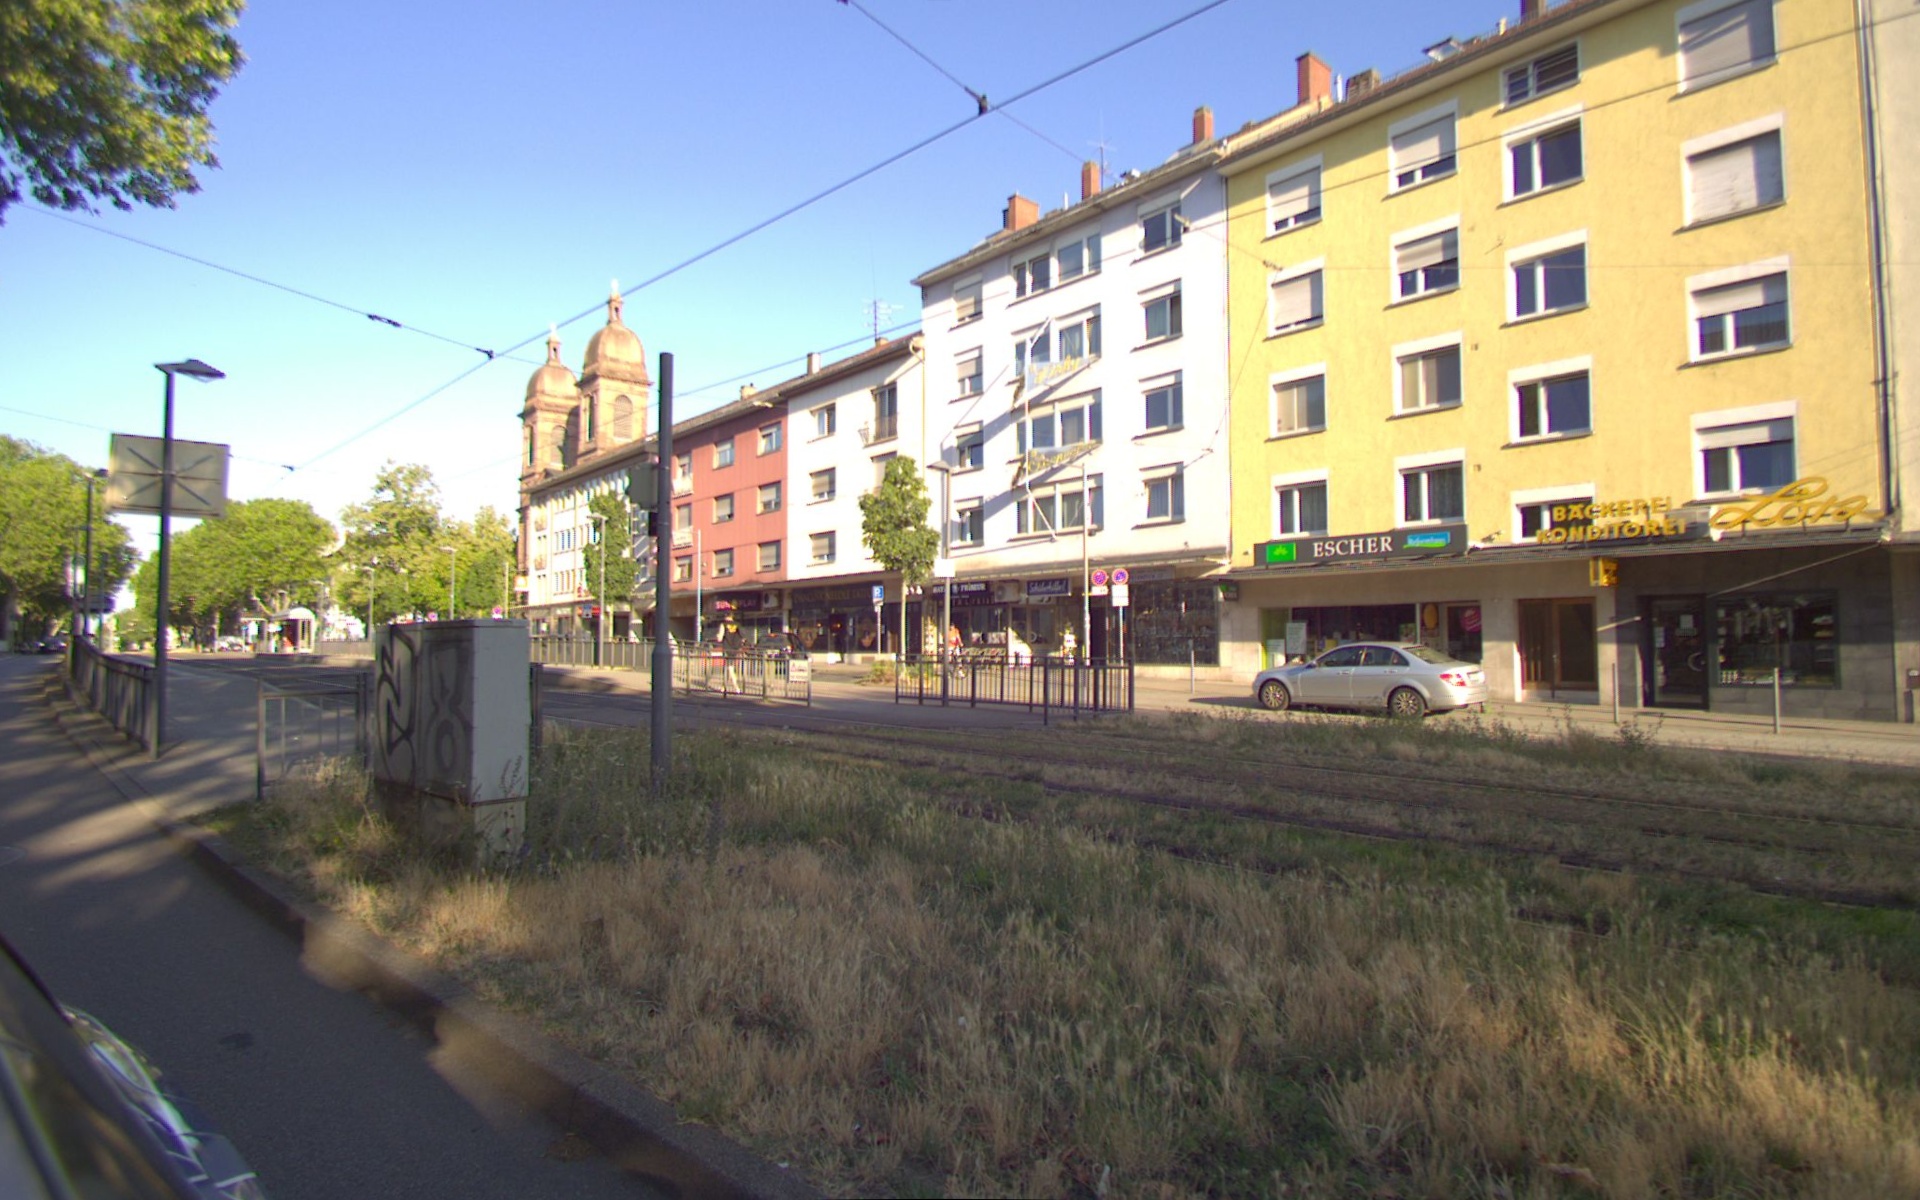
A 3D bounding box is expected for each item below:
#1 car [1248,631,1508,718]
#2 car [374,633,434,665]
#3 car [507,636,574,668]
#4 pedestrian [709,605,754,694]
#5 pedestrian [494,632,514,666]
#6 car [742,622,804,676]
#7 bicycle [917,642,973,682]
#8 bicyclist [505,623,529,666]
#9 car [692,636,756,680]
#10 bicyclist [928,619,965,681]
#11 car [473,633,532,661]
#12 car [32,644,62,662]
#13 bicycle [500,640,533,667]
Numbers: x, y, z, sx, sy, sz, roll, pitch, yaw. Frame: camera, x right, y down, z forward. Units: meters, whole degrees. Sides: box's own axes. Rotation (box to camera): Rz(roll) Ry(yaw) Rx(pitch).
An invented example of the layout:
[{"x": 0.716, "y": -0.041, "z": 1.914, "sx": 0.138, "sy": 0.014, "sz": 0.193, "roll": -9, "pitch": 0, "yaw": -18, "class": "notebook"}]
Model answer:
[{"x": 8.304, "y": 1.412, "z": 20.384, "sx": 1.971, "sy": 1.489, "sz": 4.413, "roll": -1, "pitch": -1, "yaw": -45, "class": "car"}, {"x": -31.689, "y": 2.761, "z": 57.639, "sx": 1.970, "sy": 1.730, "sz": 4.440, "roll": 2, "pitch": -3, "yaw": -43, "class": "car"}, {"x": -23.011, "y": 2.811, "z": 55.683, "sx": 1.845, "sy": 1.541, "sz": 3.996, "roll": -1, "pitch": -1, "yaw": 3, "class": "car"}, {"x": -4.907, "y": 1.064, "z": 21.768, "sx": 0.590, "sy": 1.863, "sz": 0.733, "roll": -2, "pitch": -3, "yaw": 43, "class": "pedestrian"}, {"x": -24.373, "y": 2.618, "z": 54.117, "sx": 0.725, "sy": 1.801, "sz": 0.757, "roll": -2, "pitch": -1, "yaw": 43, "class": "pedestrian"}, {"x": -7.021, "y": 1.798, "z": 38.373, "sx": 1.836, "sy": 1.813, "sz": 3.773, "roll": -2, "pitch": 0, "yaw": -4, "class": "car"}, {"x": -0.495, "y": 1.947, "z": 32.076, "sx": 0.696, "sy": 1.168, "sz": 2.204, "roll": -1, "pitch": -1, "yaw": -33, "class": "bicycle"}, {"x": -20.872, "y": 2.097, "z": 47.661, "sx": 0.754, "sy": 2.029, "sz": 0.912, "roll": 3, "pitch": -4, "yaw": -43, "class": "bicyclist"}, {"x": -9.298, "y": 2.253, "z": 40.106, "sx": 1.836, "sy": 1.502, "sz": 3.773, "roll": -2, "pitch": 0, "yaw": -4, "class": "car"}, {"x": -0.429, "y": 1.569, "z": 32.003, "sx": 0.683, "sy": 1.901, "sz": 1.060, "roll": 2, "pitch": -3, "yaw": -33, "class": "bicyclist"}, {"x": -27.693, "y": 2.802, "z": 61.340, "sx": 1.719, "sy": 1.497, "sz": 3.999, "roll": -1, "pitch": -1, "yaw": 1, "class": "car"}, {"x": -78.757, "y": 4.543, "z": 87.297, "sx": 4.001, "sy": 1.408, "sz": 1.694, "roll": -2, "pitch": -1, "yaw": 44, "class": "car"}, {"x": -20.878, "y": 2.505, "z": 47.643, "sx": 0.709, "sy": 1.239, "sz": 2.281, "roll": 3, "pitch": -4, "yaw": -42, "class": "bicycle"}]
